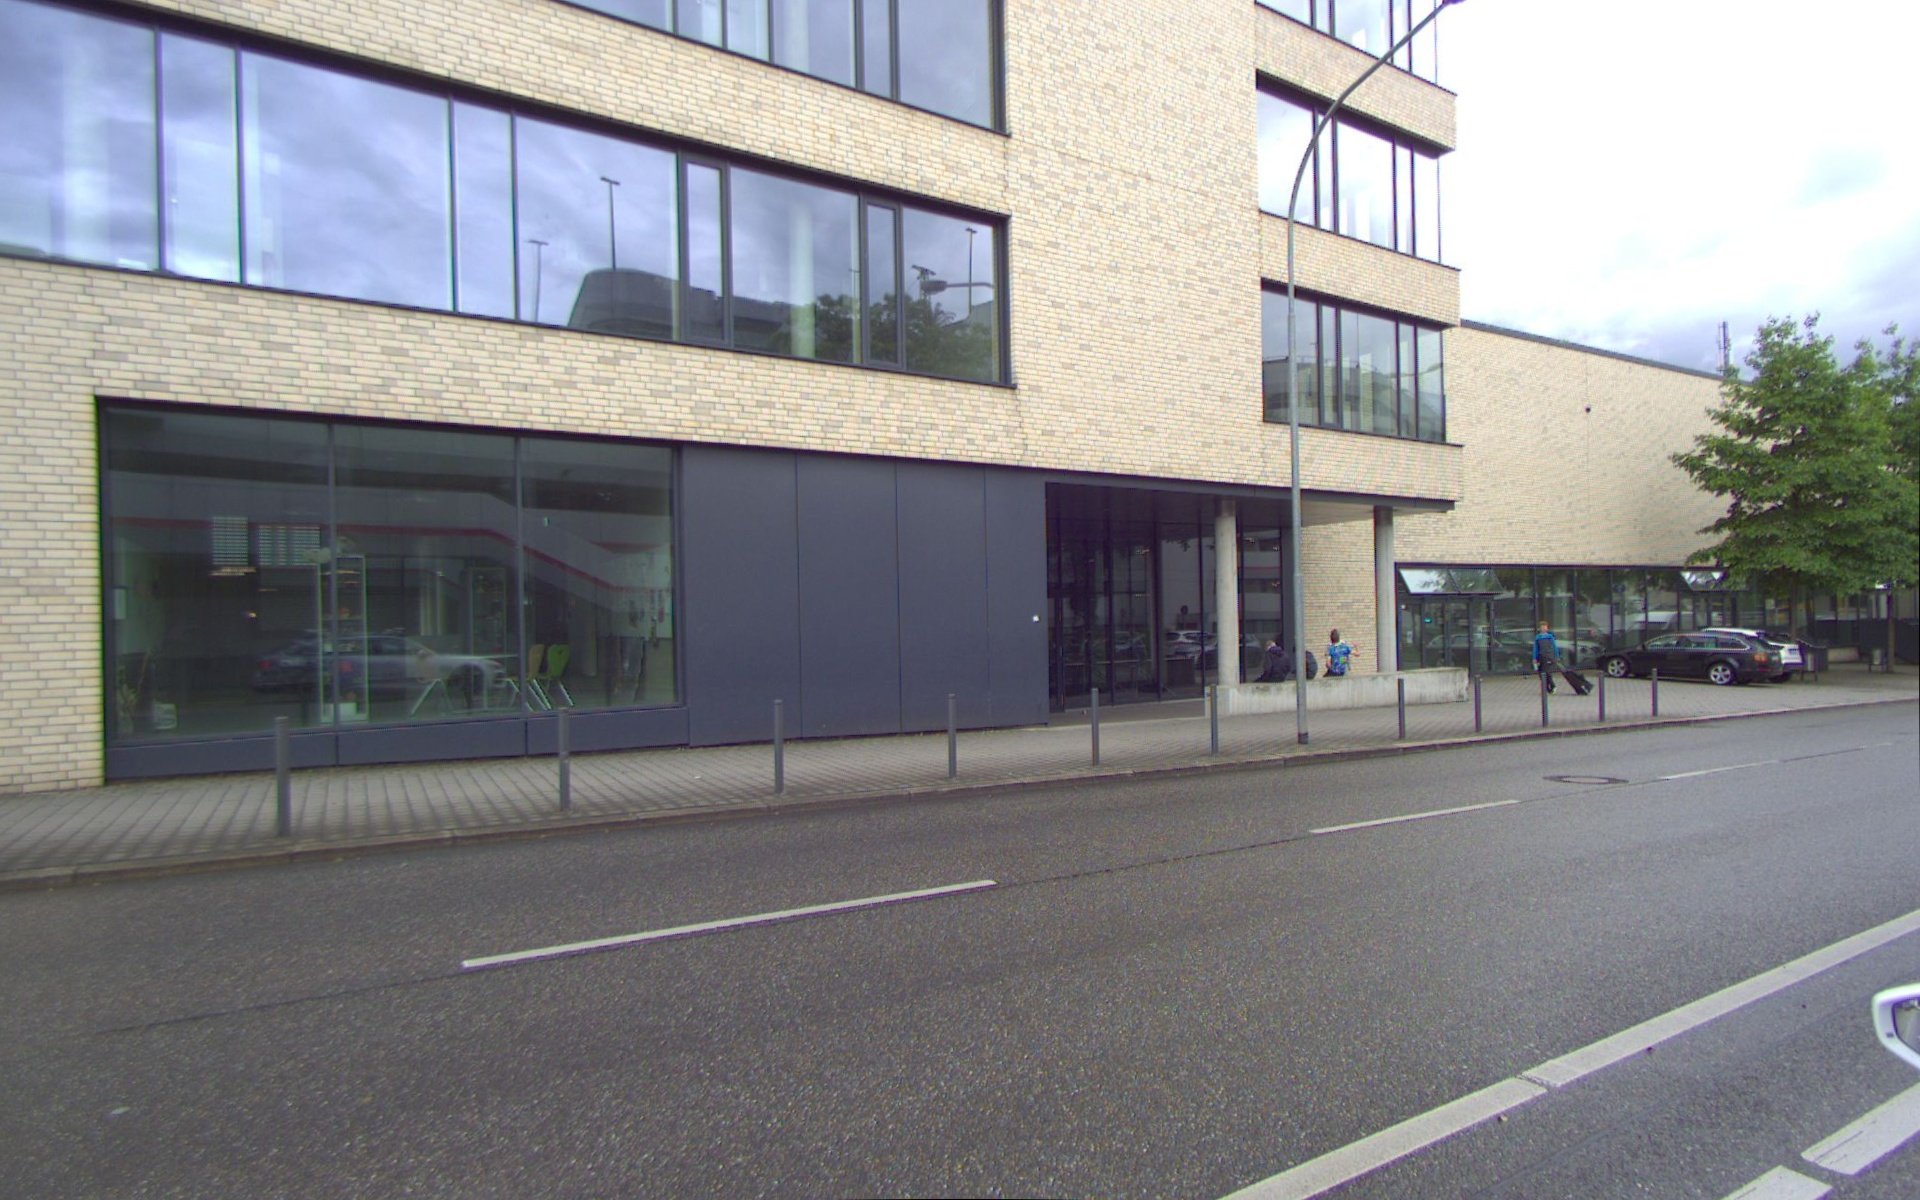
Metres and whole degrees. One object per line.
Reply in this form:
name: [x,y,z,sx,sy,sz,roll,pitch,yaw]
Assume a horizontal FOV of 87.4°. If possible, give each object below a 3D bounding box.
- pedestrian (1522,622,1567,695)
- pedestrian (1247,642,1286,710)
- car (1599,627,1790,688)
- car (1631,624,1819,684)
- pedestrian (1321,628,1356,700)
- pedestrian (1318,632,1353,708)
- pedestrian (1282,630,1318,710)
pedestrian: [14.313,1.424,24.595,0.696,1.737,0.632,2,0,-27]
pedestrian: [5.808,1.435,19.028,0.416,1.231,0.546,2,0,-27]
car: [21.568,1.645,29.652,1.981,1.515,4.147,2,0,-36]
car: [23.446,1.617,30.960,1.975,1.568,4.159,2,0,-28]
pedestrian: [8.089,1.357,21.462,0.523,1.495,0.438,2,0,-35]
pedestrian: [7.568,1.409,20.243,0.459,1.495,0.446,2,0,-35]
pedestrian: [6.609,1.350,19.514,0.459,1.495,0.446,2,0,-35]
